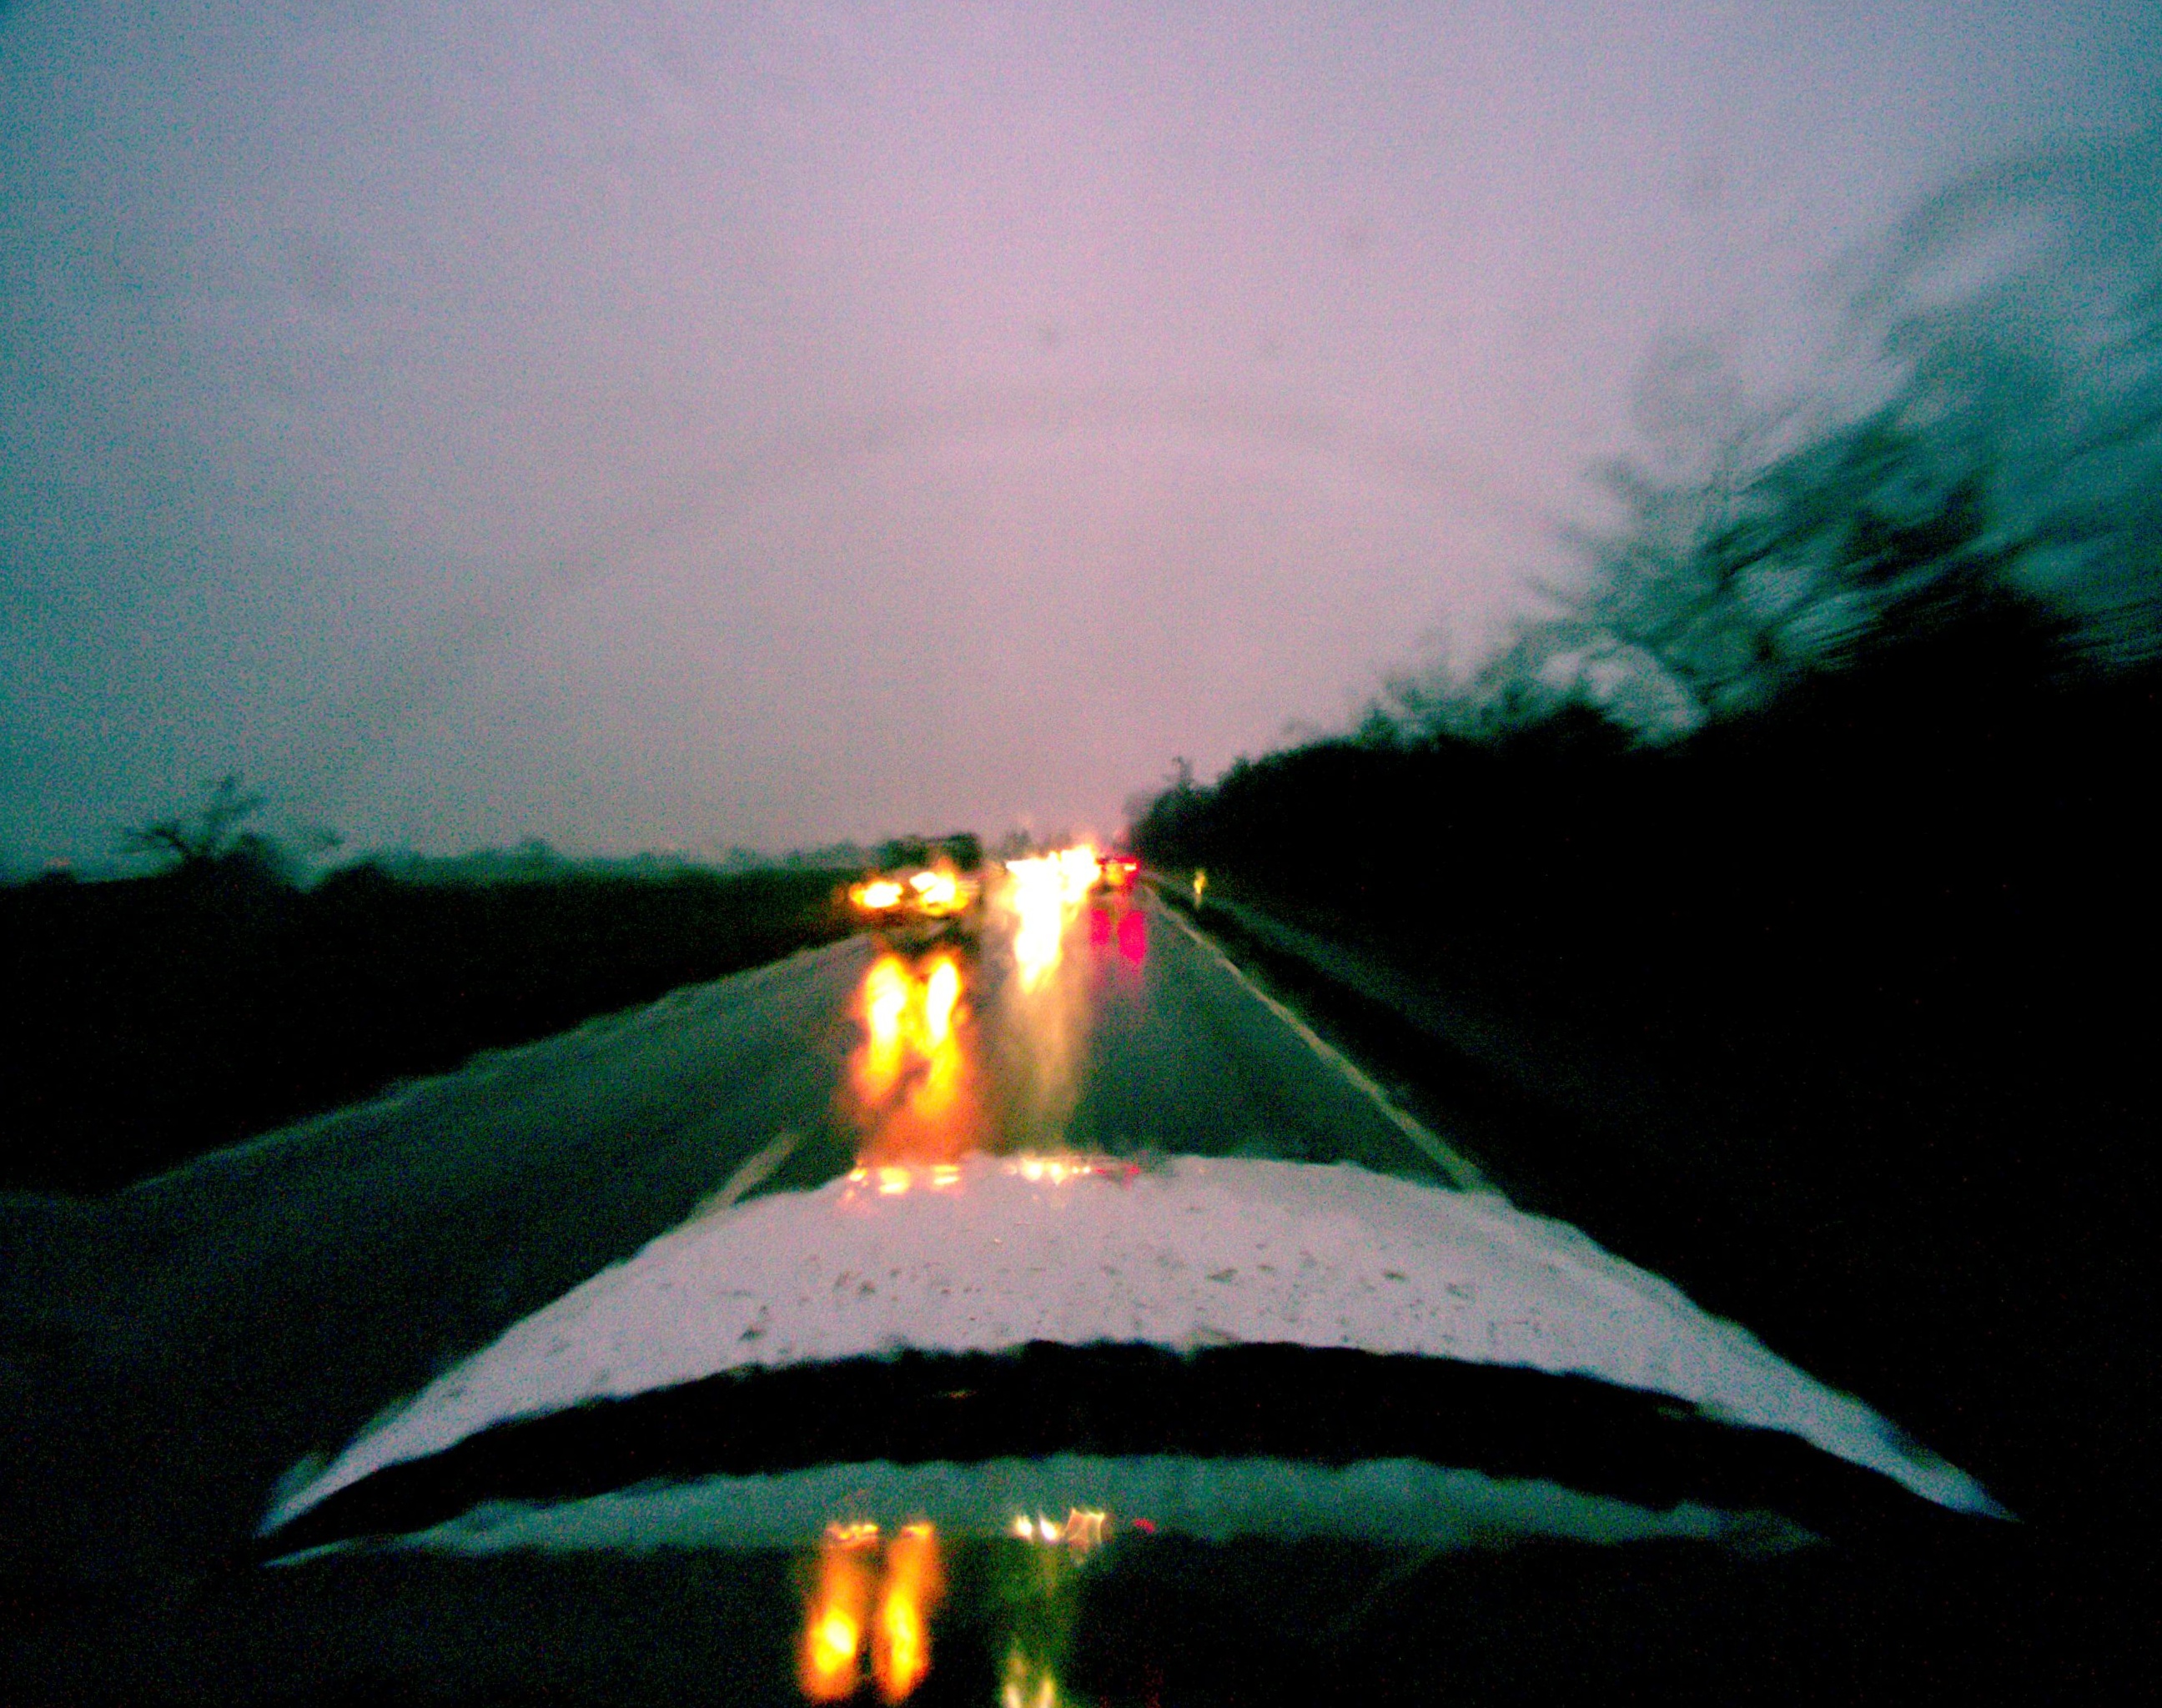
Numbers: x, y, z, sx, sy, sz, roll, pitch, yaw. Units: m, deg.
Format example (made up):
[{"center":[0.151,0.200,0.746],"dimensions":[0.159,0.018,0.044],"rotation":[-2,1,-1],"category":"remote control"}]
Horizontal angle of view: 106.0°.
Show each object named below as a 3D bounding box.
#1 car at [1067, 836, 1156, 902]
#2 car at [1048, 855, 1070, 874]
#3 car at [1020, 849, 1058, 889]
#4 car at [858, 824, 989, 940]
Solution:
[{"center":[1.119,0.491,28.779],"dimensions":[2.809,2.077,5.808],"rotation":[0,0,3],"category":"car"},{"center":[-2.058,0.952,78.002],"dimensions":[1.909,1.712,4.313],"rotation":[-2,0,0],"category":"car"},{"center":[-2.396,0.844,47.838],"dimensions":[1.909,2.137,4.313],"rotation":[-2,0,0],"category":"car"},{"center":[-3.231,0.537,17.606],"dimensions":[1.909,2.137,4.313],"rotation":[-2,0,0],"category":"car"}]
